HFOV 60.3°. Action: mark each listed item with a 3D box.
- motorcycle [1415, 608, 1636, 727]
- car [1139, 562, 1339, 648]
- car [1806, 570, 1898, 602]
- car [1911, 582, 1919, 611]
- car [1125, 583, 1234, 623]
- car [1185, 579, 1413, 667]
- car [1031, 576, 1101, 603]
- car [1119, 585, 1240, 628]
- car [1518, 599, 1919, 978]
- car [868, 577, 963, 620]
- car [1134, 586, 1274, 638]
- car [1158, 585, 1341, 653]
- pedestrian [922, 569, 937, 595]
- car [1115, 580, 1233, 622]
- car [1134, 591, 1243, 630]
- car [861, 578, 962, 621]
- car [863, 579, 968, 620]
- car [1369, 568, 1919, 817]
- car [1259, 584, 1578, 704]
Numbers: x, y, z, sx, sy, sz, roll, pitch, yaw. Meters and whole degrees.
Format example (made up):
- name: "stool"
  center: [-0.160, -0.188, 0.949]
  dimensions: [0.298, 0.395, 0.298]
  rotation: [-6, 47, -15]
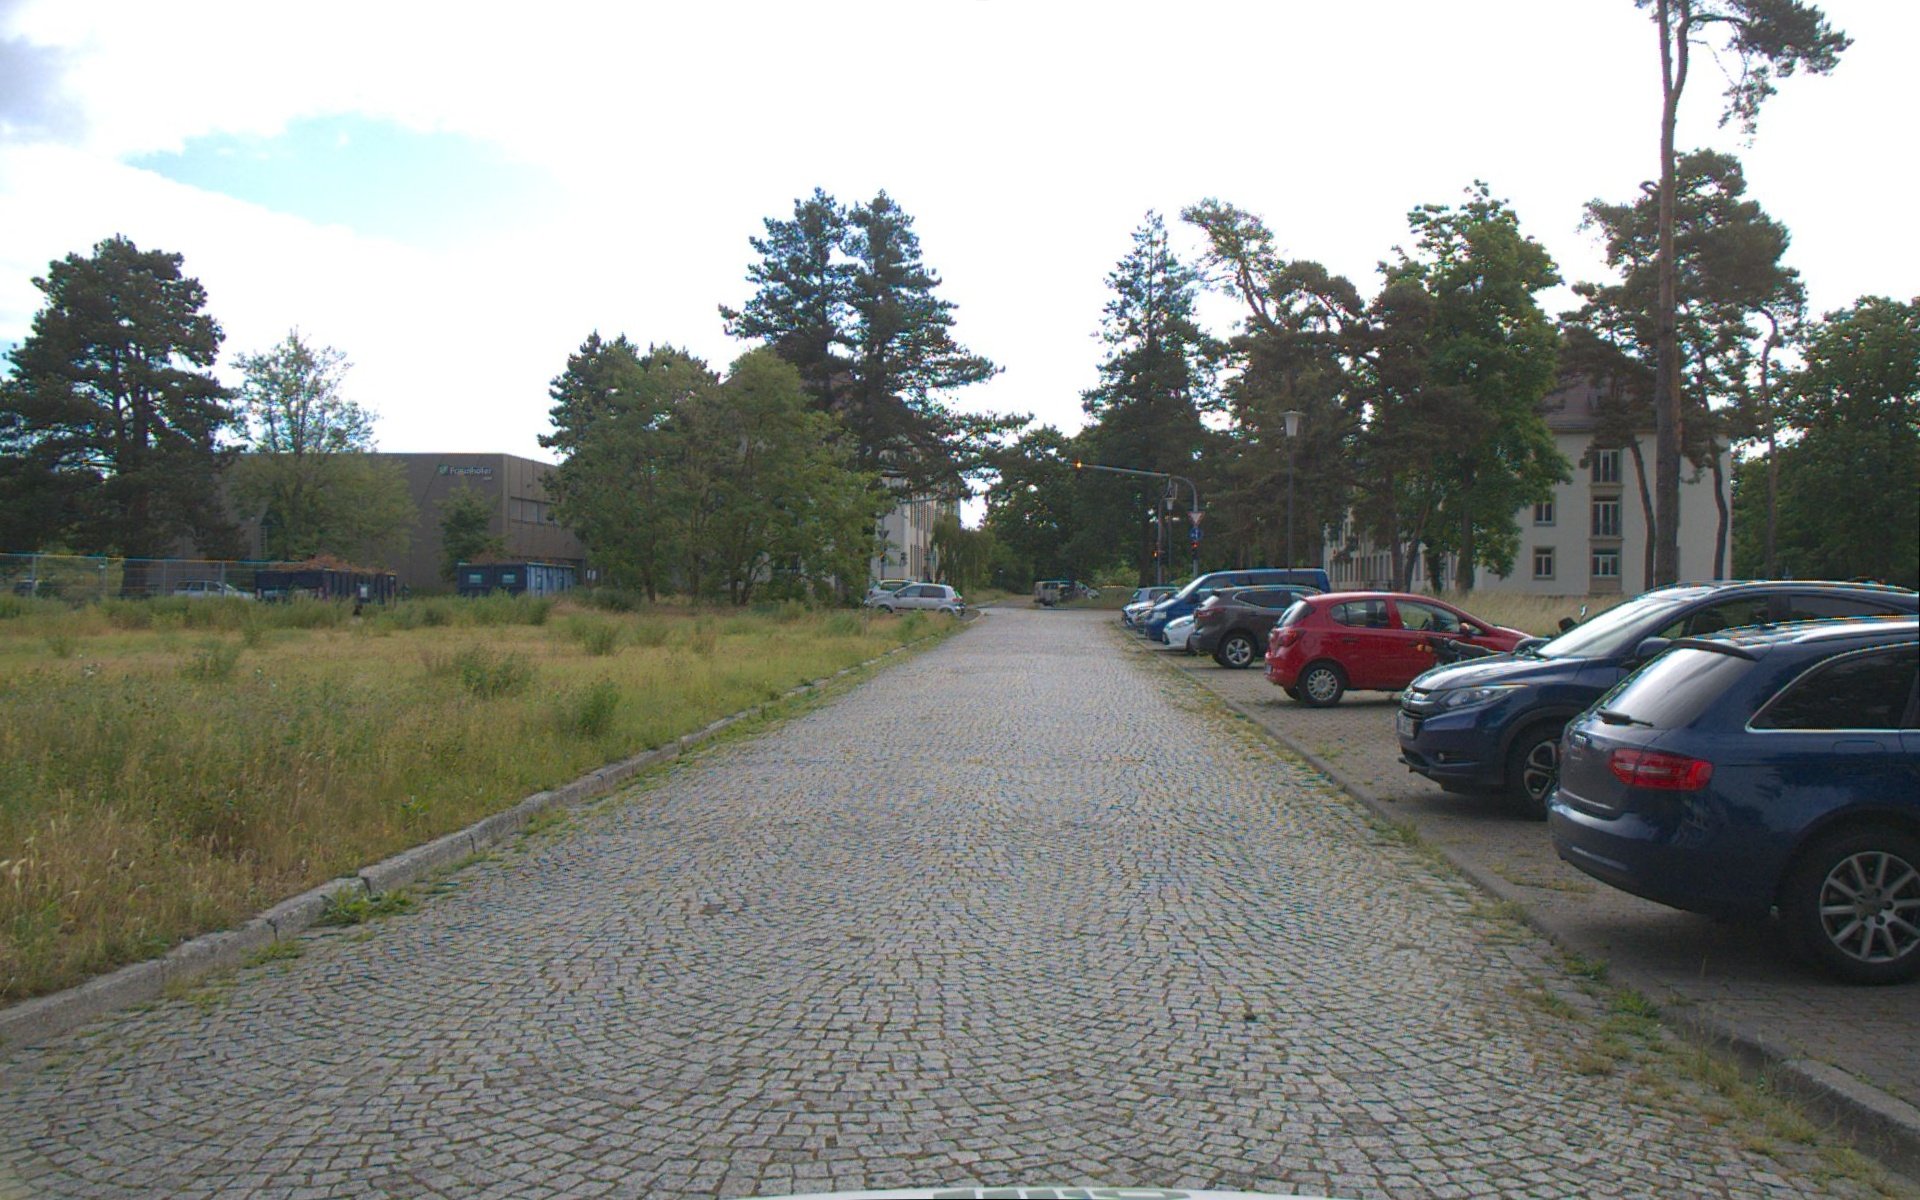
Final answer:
- name: "motorcycle"
  center: [6.107, 0.723, 17.909]
  dimensions: [2.184, 1.223, 0.568]
  rotation: [-1, 0, 1]
- name: "car"
  center: [6.955, 0.117, 41.606]
  dimensions: [4.696, 2.039, 1.967]
  rotation: [-1, 1, 1]
- name: "car"
  center: [62.285, -0.969, 115.538]
  dimensions: [5.189, 2.055, 2.107]
  rotation: [2, 0, 4]
- name: "car"
  center: [62.820, -0.155, 104.760]
  dimensions: [4.046, 1.835, 1.901]
  rotation: [2, 0, 5]
- name: "car"
  center: [8.655, 0.095, 65.292]
  dimensions: [4.052, 1.489, 1.633]
  rotation: [-1, 1, -2]
- name: "car"
  center: [6.639, 0.435, 32.707]
  dimensions: [4.116, 1.622, 1.953]
  rotation: [-1, 1, 1]
- name: "car"
  center: [8.441, -0.827, 132.353]
  dimensions: [5.277, 2.138, 2.174]
  rotation: [0, 0, -9]
- name: "car"
  center: [7.945, 0.209, 60.001]
  dimensions: [4.102, 1.462, 1.754]
  rotation: [-1, 1, -4]
- name: "car"
  center: [4.922, 0.739, 7.401]
  dimensions: [4.265, 1.464, 1.928]
  rotation: [-1, 1, 5]
- name: "car"
  center: [-1.723, -0.077, 64.925]
  dimensions: [3.644, 1.506, 1.673]
  rotation: [2, 1, 0]
- name: "car"
  center: [7.310, 0.338, 49.818]
  dimensions: [4.044, 1.472, 1.766]
  rotation: [-1, 1, 4]
- name: "car"
  center: [6.792, 0.442, 39.068]
  dimensions: [4.013, 1.504, 1.722]
  rotation: [-1, 1, 0]
- name: "pedestrian"
  center: [-2.427, -1.402, 130.641]
  dimensions: [1.052, 1.993, 1.122]
  rotation: [1, 0, 3]
- name: "car"
  center: [8.116, 0.041, 62.763]
  dimensions: [4.149, 1.505, 1.707]
  rotation: [-1, 1, -8]
- name: "car"
  center: [7.594, 0.340, 55.307]
  dimensions: [3.511, 1.244, 1.629]
  rotation: [-1, 1, 4]
- name: "car"
  center: [-2.073, -0.041, 70.357]
  dimensions: [4.211, 1.762, 1.652]
  rotation: [-1, 1, -2]
- name: "car"
  center: [-1.806, -0.038, 67.531]
  dimensions: [4.212, 1.581, 1.811]
  rotation: [-1, 1, -3]
- name: "car"
  center: [5.297, 0.610, 12.130]
  dimensions: [4.157, 1.651, 1.887]
  rotation: [-1, 1, 2]
- name: "car"
  center: [6.120, 0.565, 22.410]
  dimensions: [3.842, 1.522, 1.785]
  rotation: [-1, 1, 2]
